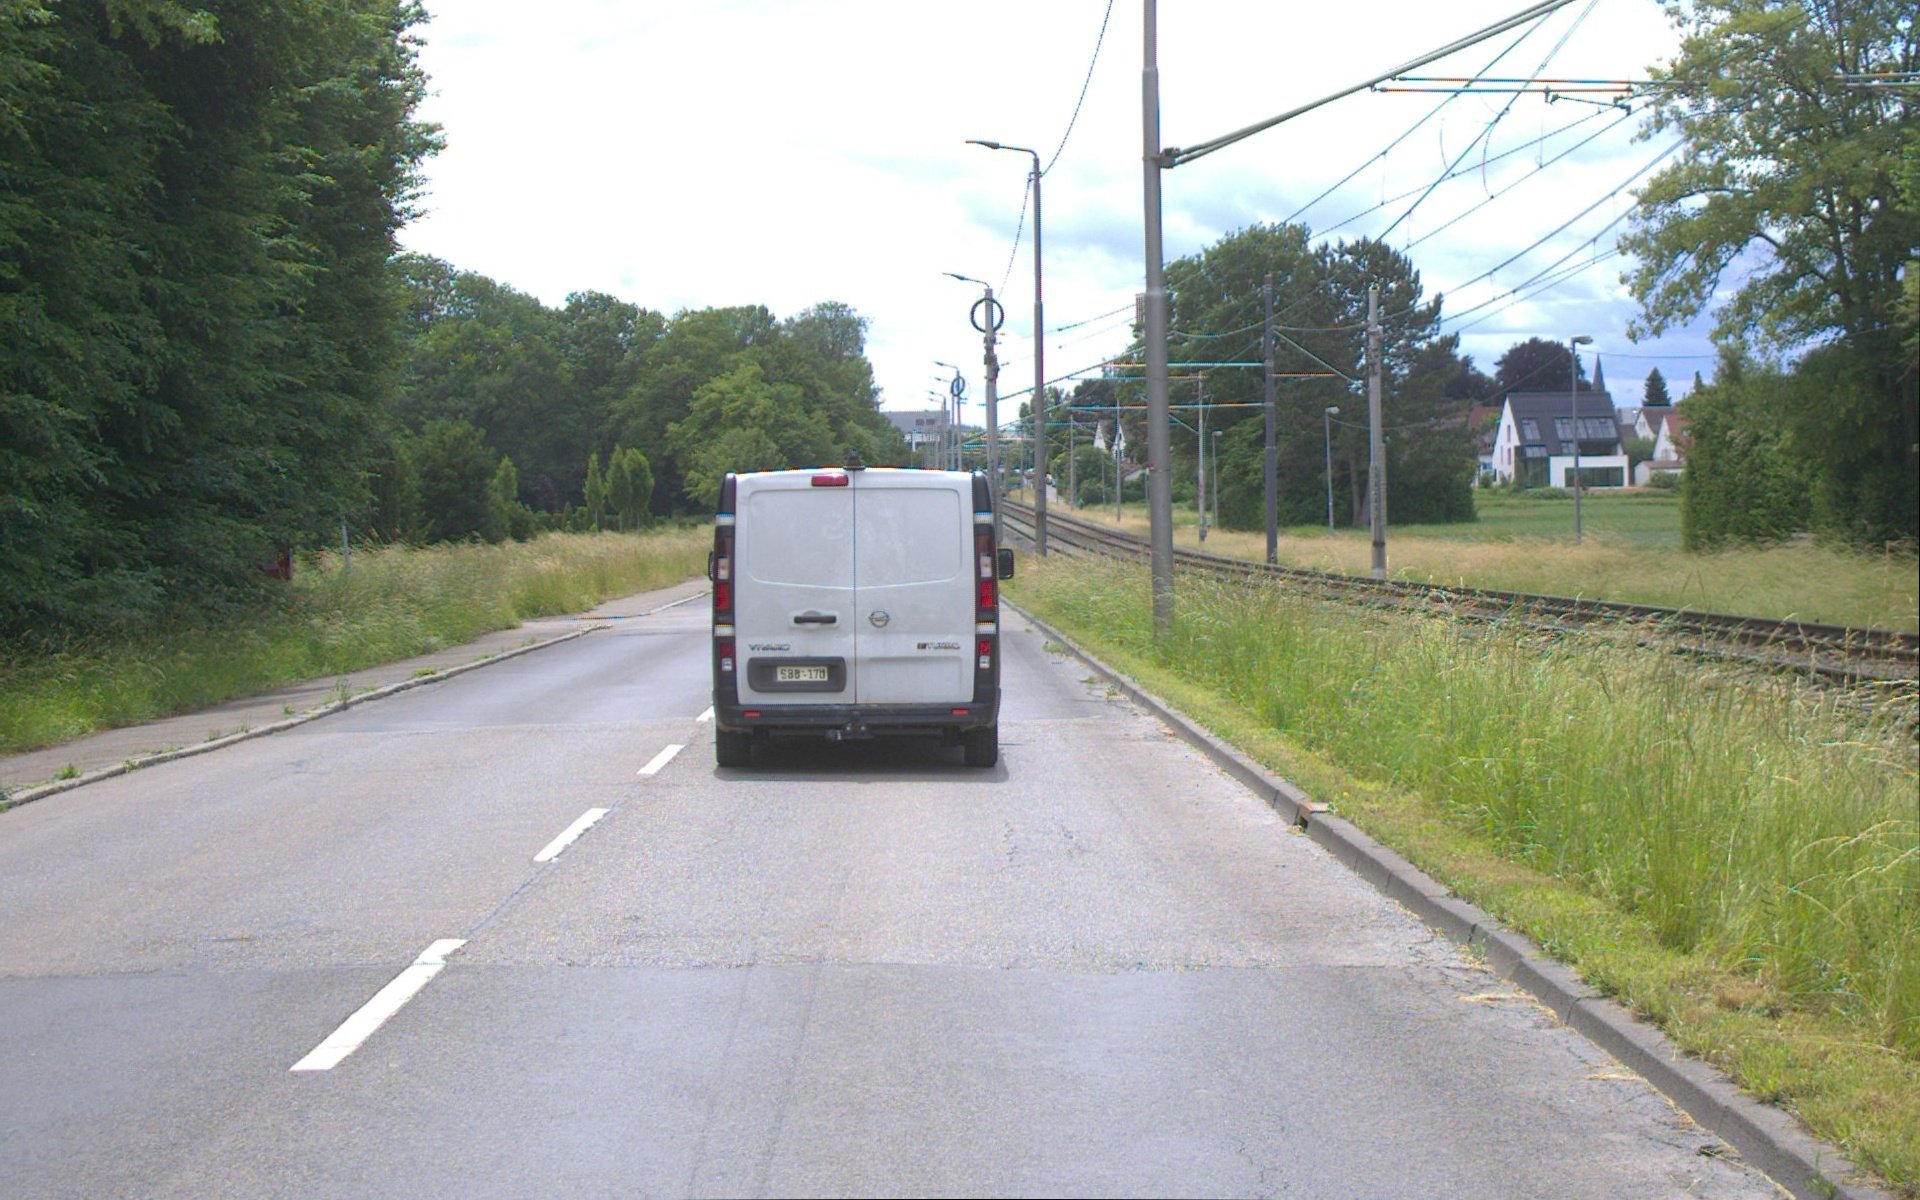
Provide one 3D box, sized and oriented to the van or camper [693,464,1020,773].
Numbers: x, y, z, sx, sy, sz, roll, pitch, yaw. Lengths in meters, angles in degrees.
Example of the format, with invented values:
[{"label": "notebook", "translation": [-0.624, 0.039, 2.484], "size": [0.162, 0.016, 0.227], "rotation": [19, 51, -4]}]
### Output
[{"label": "van or camper", "translation": [-0.608, 0.061, 23.436], "size": [1.942, 1.890, 4.285], "rotation": [1, 1, 2]}]
